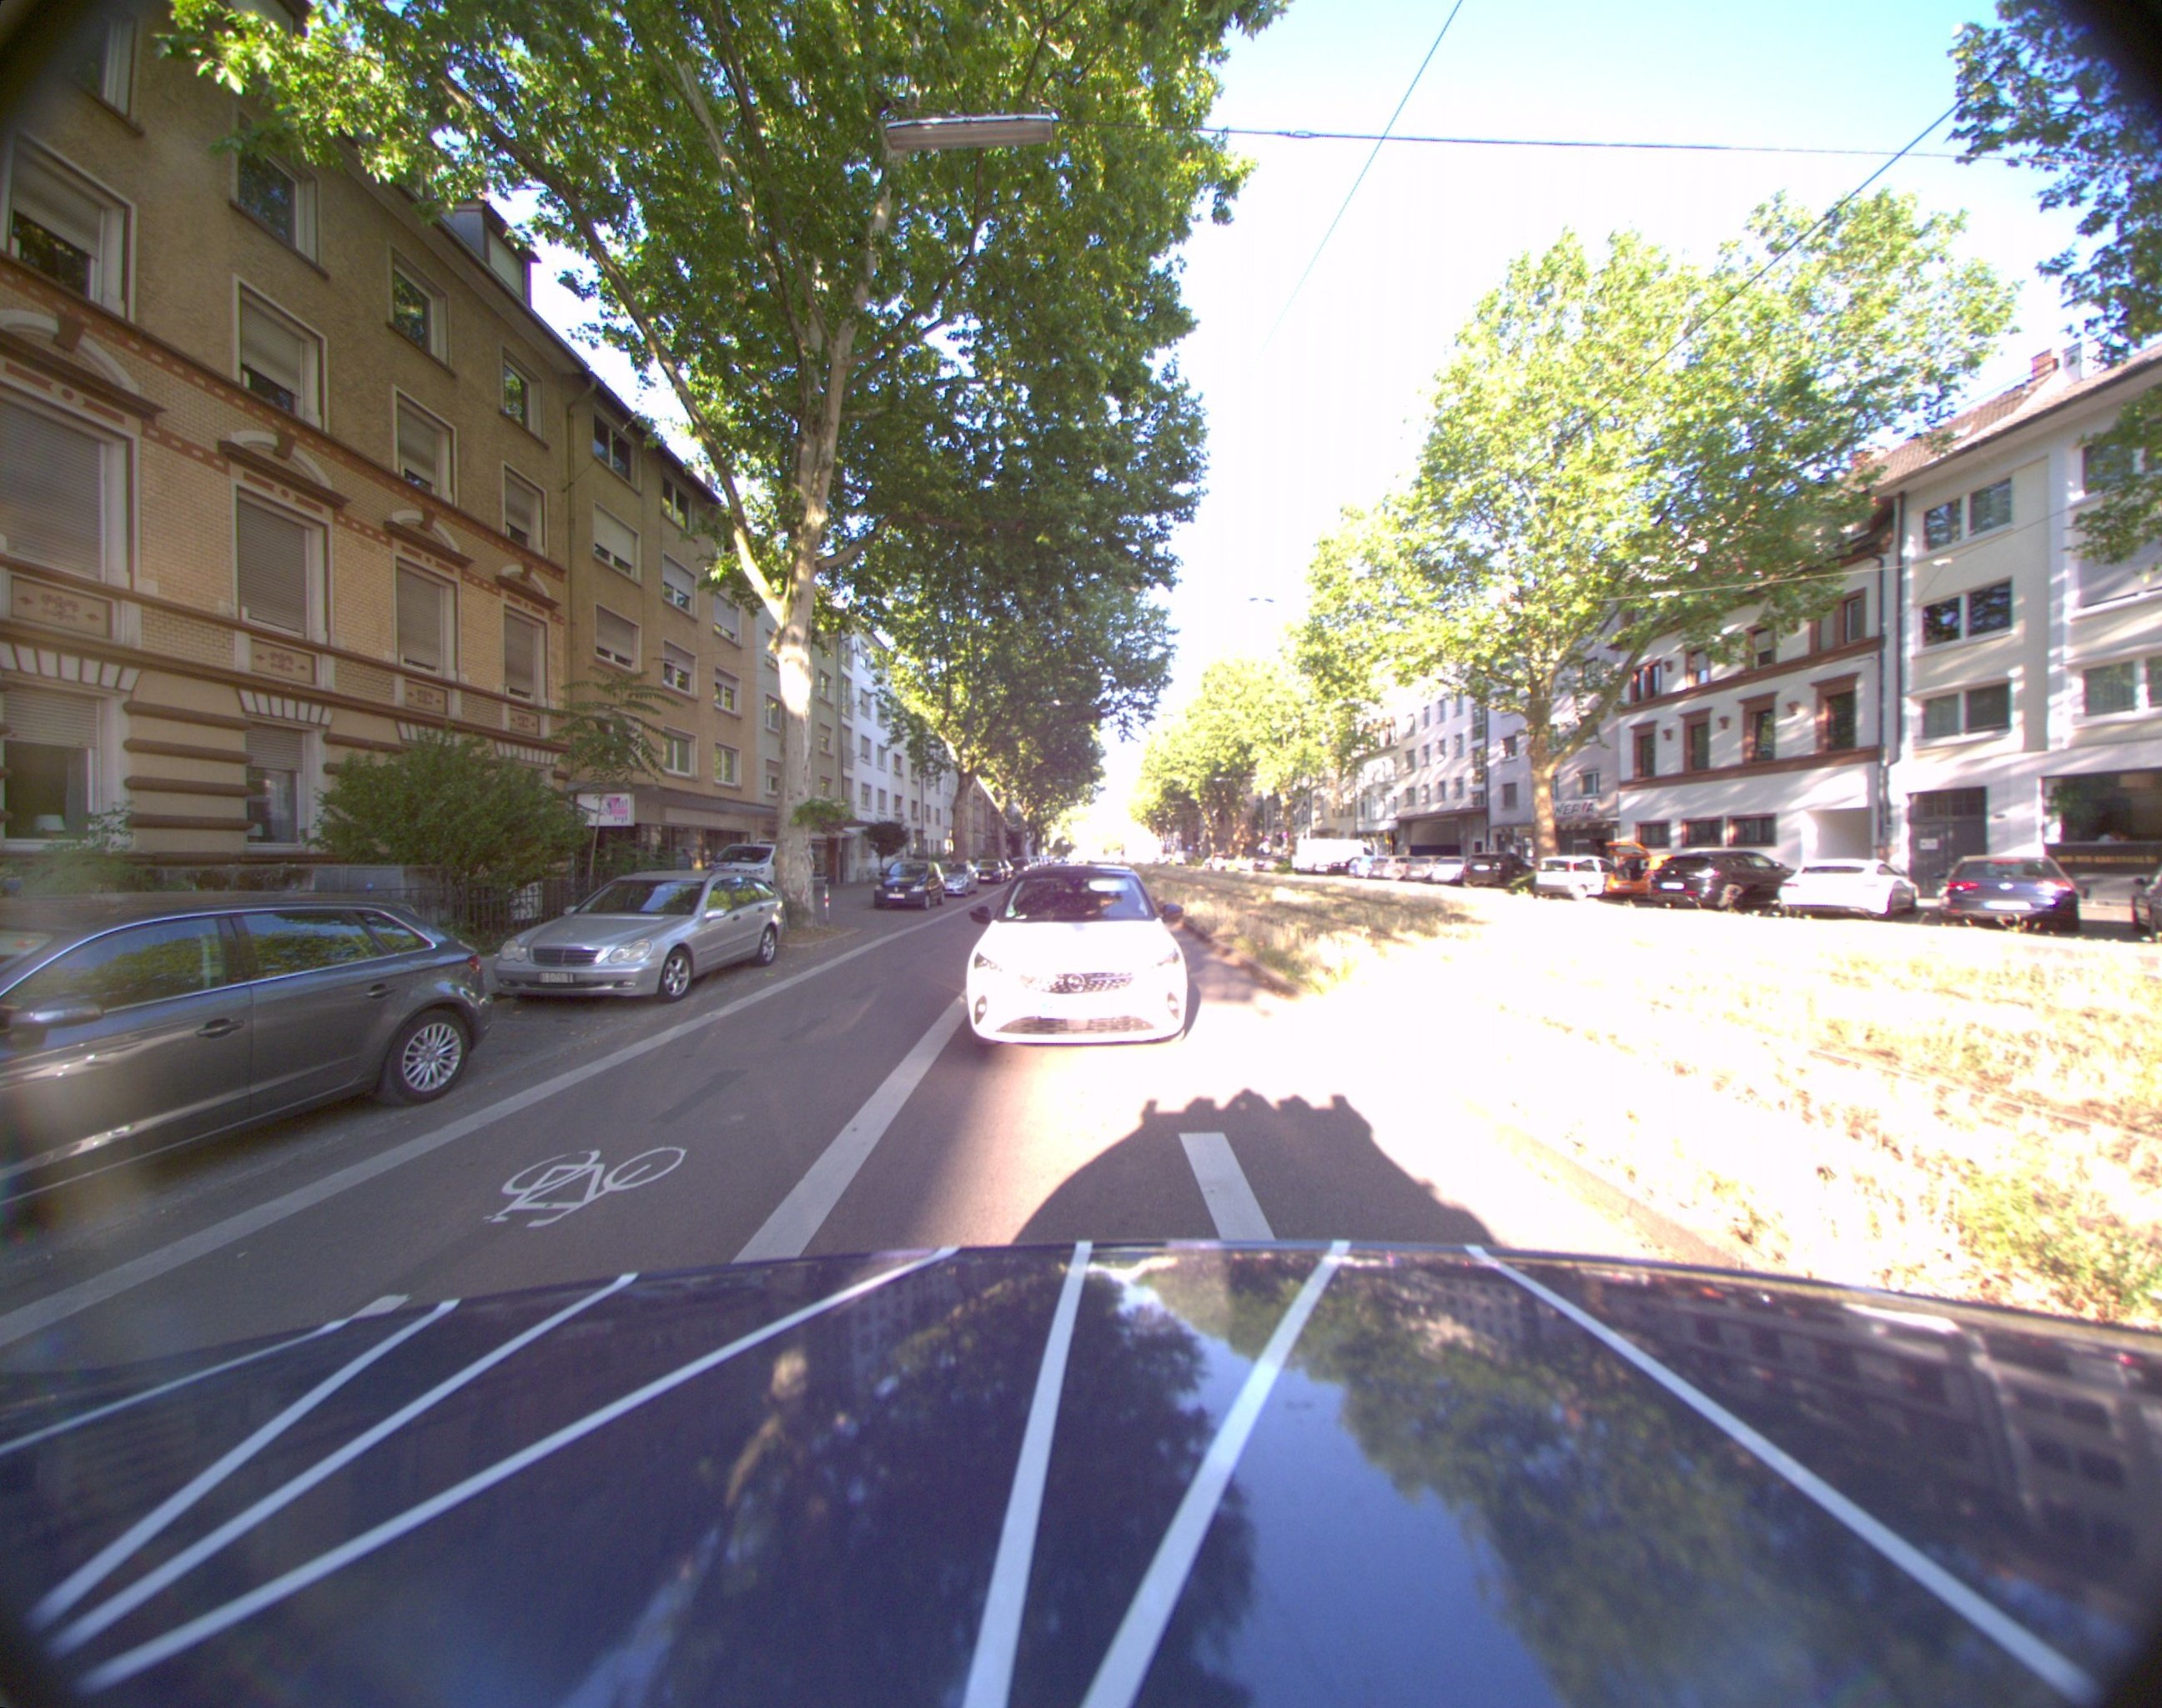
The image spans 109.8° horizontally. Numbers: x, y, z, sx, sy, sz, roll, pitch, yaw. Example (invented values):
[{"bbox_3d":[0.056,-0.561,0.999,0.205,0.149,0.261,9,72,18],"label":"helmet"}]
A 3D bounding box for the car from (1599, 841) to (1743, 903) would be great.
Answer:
[{"bbox_3d":[19.522,0.555,25.157,4.260,1.932,1.514,0,1,-15],"label":"car"}]

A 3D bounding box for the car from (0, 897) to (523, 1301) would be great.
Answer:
[{"bbox_3d":[-5.201,1.064,3.615,1.802,1.393,4.370,2,0,1],"label":"car"}]

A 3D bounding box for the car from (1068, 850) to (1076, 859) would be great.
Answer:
[{"bbox_3d":[-2.223,0.106,192.108,1.998,2.002,3.999,-2,1,0],"label":"car"}]

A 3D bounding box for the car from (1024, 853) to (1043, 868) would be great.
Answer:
[{"bbox_3d":[-5.383,0.732,86.581,1.803,1.599,4.104,2,0,-1],"label":"car"}]

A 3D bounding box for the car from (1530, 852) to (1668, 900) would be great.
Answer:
[{"bbox_3d":[18.139,0.736,26.640,4.260,1.548,1.641,0,1,-15],"label":"car"}]

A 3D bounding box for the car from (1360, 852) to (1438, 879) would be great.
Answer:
[{"bbox_3d":[18.879,0.659,45.152,4.004,1.509,1.996,-1,0,-20],"label":"car"}]

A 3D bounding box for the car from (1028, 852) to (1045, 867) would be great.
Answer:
[{"bbox_3d":[-5.425,0.677,92.944,1.803,1.742,4.104,2,0,-1],"label":"car"}]

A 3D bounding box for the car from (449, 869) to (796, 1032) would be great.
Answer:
[{"bbox_3d":[-5.384,1.008,9.780,1.803,1.446,4.511,2,0,-1],"label":"car"}]

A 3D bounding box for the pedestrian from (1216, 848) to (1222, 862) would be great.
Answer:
[{"bbox_3d":[15.064,0.116,82.963,0.620,1.588,0.422,0,1,1],"label":"pedestrian"}]

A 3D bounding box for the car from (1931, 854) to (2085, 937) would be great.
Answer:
[{"bbox_3d":[19.285,0.770,15.969,3.979,1.495,1.827,-1,1,-42],"label":"car"}]

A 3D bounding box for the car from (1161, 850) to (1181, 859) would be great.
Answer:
[{"bbox_3d":[18.275,0.008,153.734,3.994,1.802,1.874,0,1,10],"label":"car"}]

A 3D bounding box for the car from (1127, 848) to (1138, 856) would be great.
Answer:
[{"bbox_3d":[16.733,-0.529,246.099,2.963,2.407,6.327,-2,1,1],"label":"car"}]

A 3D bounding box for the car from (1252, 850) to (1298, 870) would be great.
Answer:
[{"bbox_3d":[18.650,0.561,73.026,4.005,1.805,1.995,-1,1,-27],"label":"car"}]

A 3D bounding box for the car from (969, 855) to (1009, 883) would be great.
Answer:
[{"bbox_3d":[-5.465,0.879,45.574,1.803,1.494,4.369,2,0,-1],"label":"car"}]

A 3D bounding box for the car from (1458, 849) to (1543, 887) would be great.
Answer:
[{"bbox_3d":[18.892,0.579,34.163,4.266,1.605,1.902,-1,1,-40],"label":"car"}]

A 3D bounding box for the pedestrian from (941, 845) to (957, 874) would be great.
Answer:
[{"bbox_3d":[-7.233,0.304,41.724,0.728,1.571,0.702,0,1,0],"label":"pedestrian"}]

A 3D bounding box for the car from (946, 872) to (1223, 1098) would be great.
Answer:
[{"bbox_3d":[0.011,0.946,7.195,1.865,1.394,3.931,-2,0,0],"label":"car"}]

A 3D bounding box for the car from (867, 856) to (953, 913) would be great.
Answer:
[{"bbox_3d":[-5.408,0.895,24.610,1.803,1.599,4.369,2,0,-1],"label":"car"}]

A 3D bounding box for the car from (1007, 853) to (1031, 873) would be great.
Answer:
[{"bbox_3d":[-5.364,0.793,66.253,1.803,1.599,4.104,2,0,-1],"label":"car"}]

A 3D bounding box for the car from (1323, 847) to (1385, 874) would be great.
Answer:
[{"bbox_3d":[19.728,0.442,54.817,4.005,1.805,1.995,-1,1,-27],"label":"car"}]

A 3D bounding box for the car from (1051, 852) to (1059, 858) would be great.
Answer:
[{"bbox_3d":[-8.291,0.303,243.939,1.998,1.850,4.001,-2,1,5],"label":"car"}]

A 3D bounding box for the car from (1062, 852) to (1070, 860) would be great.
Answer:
[{"bbox_3d":[-4.219,0.562,210.366,1.998,2.002,4.000,-2,1,1],"label":"car"}]

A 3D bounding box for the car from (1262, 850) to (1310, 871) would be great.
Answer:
[{"bbox_3d":[18.827,0.570,69.754,4.005,1.805,1.995,-1,1,-27],"label":"car"}]

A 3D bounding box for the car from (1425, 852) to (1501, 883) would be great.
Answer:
[{"bbox_3d":[18.972,0.647,37.679,4.265,1.451,1.598,-1,1,-36],"label":"car"}]

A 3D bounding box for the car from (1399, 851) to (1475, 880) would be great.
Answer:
[{"bbox_3d":[19.206,0.567,40.955,4.265,1.449,1.902,-1,1,-36],"label":"car"}]

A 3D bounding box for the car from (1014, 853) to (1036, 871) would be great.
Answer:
[{"bbox_3d":[-5.431,0.765,73.462,1.803,1.599,4.104,2,0,-1],"label":"car"}]

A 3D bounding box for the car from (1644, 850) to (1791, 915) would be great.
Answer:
[{"bbox_3d":[18.222,0.732,21.724,4.265,1.674,2.147,-1,1,-34],"label":"car"}]

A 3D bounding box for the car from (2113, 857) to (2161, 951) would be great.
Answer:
[{"bbox_3d":[19.070,0.778,12.698,3.979,1.424,1.738,-1,-1,-42],"label":"car"}]

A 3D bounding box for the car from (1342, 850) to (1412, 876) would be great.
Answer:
[{"bbox_3d":[18.790,0.545,48.279,4.005,1.608,1.995,-1,1,-27],"label":"car"}]

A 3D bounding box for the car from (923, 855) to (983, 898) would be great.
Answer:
[{"bbox_3d":[-5.339,0.902,32.246,1.803,1.599,4.369,2,0,-1],"label":"car"}]

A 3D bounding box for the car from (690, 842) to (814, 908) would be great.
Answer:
[{"bbox_3d":[-10.374,0.589,24.375,1.933,1.864,4.677,2,0,-1],"label":"car"}]

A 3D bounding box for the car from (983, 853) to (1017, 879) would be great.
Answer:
[{"bbox_3d":[-5.387,0.740,50.906,1.803,1.599,4.369,2,0,-1],"label":"car"}]

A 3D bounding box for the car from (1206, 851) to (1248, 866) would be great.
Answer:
[{"bbox_3d":[16.075,0.484,83.736,4.234,1.696,1.999,0,0,-4],"label":"car"}]

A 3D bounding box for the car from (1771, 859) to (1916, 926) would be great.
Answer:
[{"bbox_3d":[18.560,0.840,18.440,4.266,1.369,2.147,-1,0,-40],"label":"car"}]

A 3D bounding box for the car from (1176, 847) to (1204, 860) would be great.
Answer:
[{"bbox_3d":[18.701,-0.045,129.994,4.952,2.200,2.096,-1,1,-42],"label":"car"}]

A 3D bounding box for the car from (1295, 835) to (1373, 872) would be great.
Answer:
[{"bbox_3d":[19.189,-0.037,57.582,5.619,2.684,2.176,-1,1,-24],"label":"car"}]

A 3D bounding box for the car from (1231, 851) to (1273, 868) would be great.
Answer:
[{"bbox_3d":[18.386,0.557,81.556,4.005,1.696,1.995,-1,1,-27],"label":"car"}]

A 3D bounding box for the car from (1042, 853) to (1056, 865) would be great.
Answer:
[{"bbox_3d":[-4.624,0.682,109.900,1.803,1.598,3.702,2,0,-1],"label":"car"}]
